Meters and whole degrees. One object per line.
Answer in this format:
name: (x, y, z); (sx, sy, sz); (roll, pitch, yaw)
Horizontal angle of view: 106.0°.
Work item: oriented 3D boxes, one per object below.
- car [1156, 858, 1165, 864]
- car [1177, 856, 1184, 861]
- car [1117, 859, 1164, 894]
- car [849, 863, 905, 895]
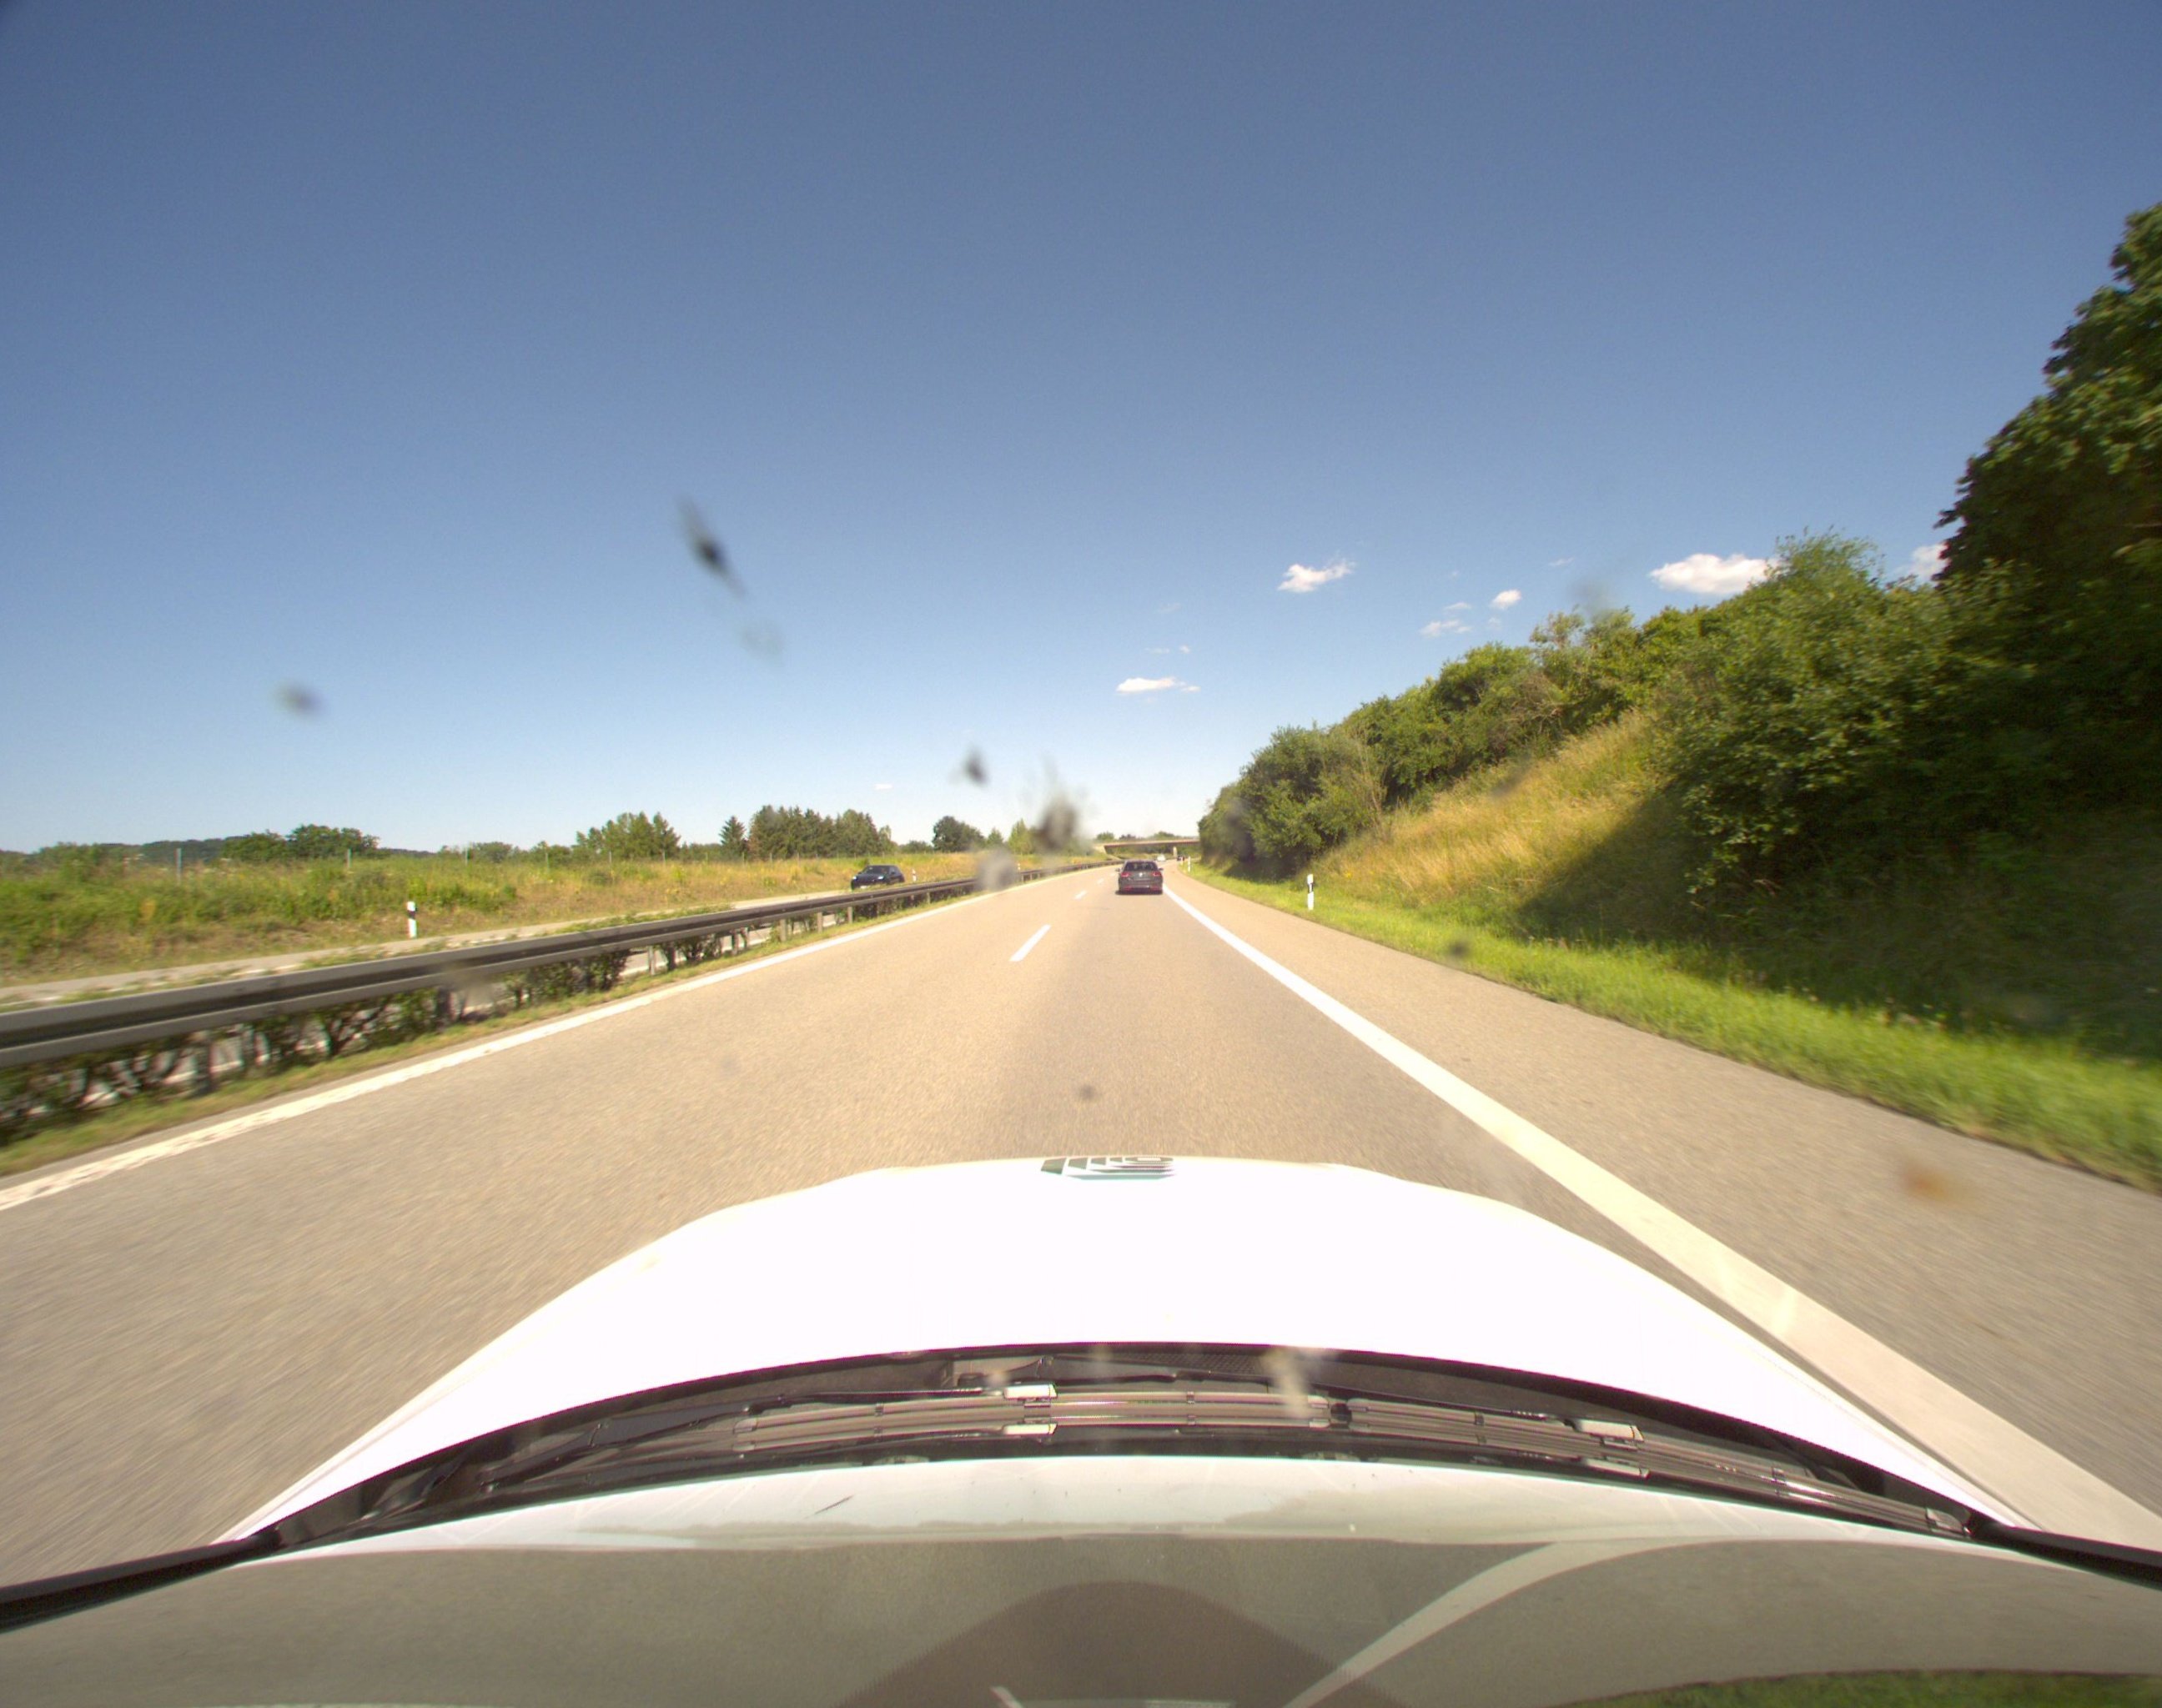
car: (19.630, 1.718, 200.299); (1.995, 1.345, 4.009); (0, -2, 8)
car: (25.474, 1.140, 208.407); (1.702, 1.387, 3.360); (0, -2, 5)
car: (2.510, 0.898, 33.652); (1.782, 1.344, 4.006); (0, 0, 6)
car: (-11.480, 1.380, 46.131); (1.824, 1.552, 4.469); (-2, 0, 3)
